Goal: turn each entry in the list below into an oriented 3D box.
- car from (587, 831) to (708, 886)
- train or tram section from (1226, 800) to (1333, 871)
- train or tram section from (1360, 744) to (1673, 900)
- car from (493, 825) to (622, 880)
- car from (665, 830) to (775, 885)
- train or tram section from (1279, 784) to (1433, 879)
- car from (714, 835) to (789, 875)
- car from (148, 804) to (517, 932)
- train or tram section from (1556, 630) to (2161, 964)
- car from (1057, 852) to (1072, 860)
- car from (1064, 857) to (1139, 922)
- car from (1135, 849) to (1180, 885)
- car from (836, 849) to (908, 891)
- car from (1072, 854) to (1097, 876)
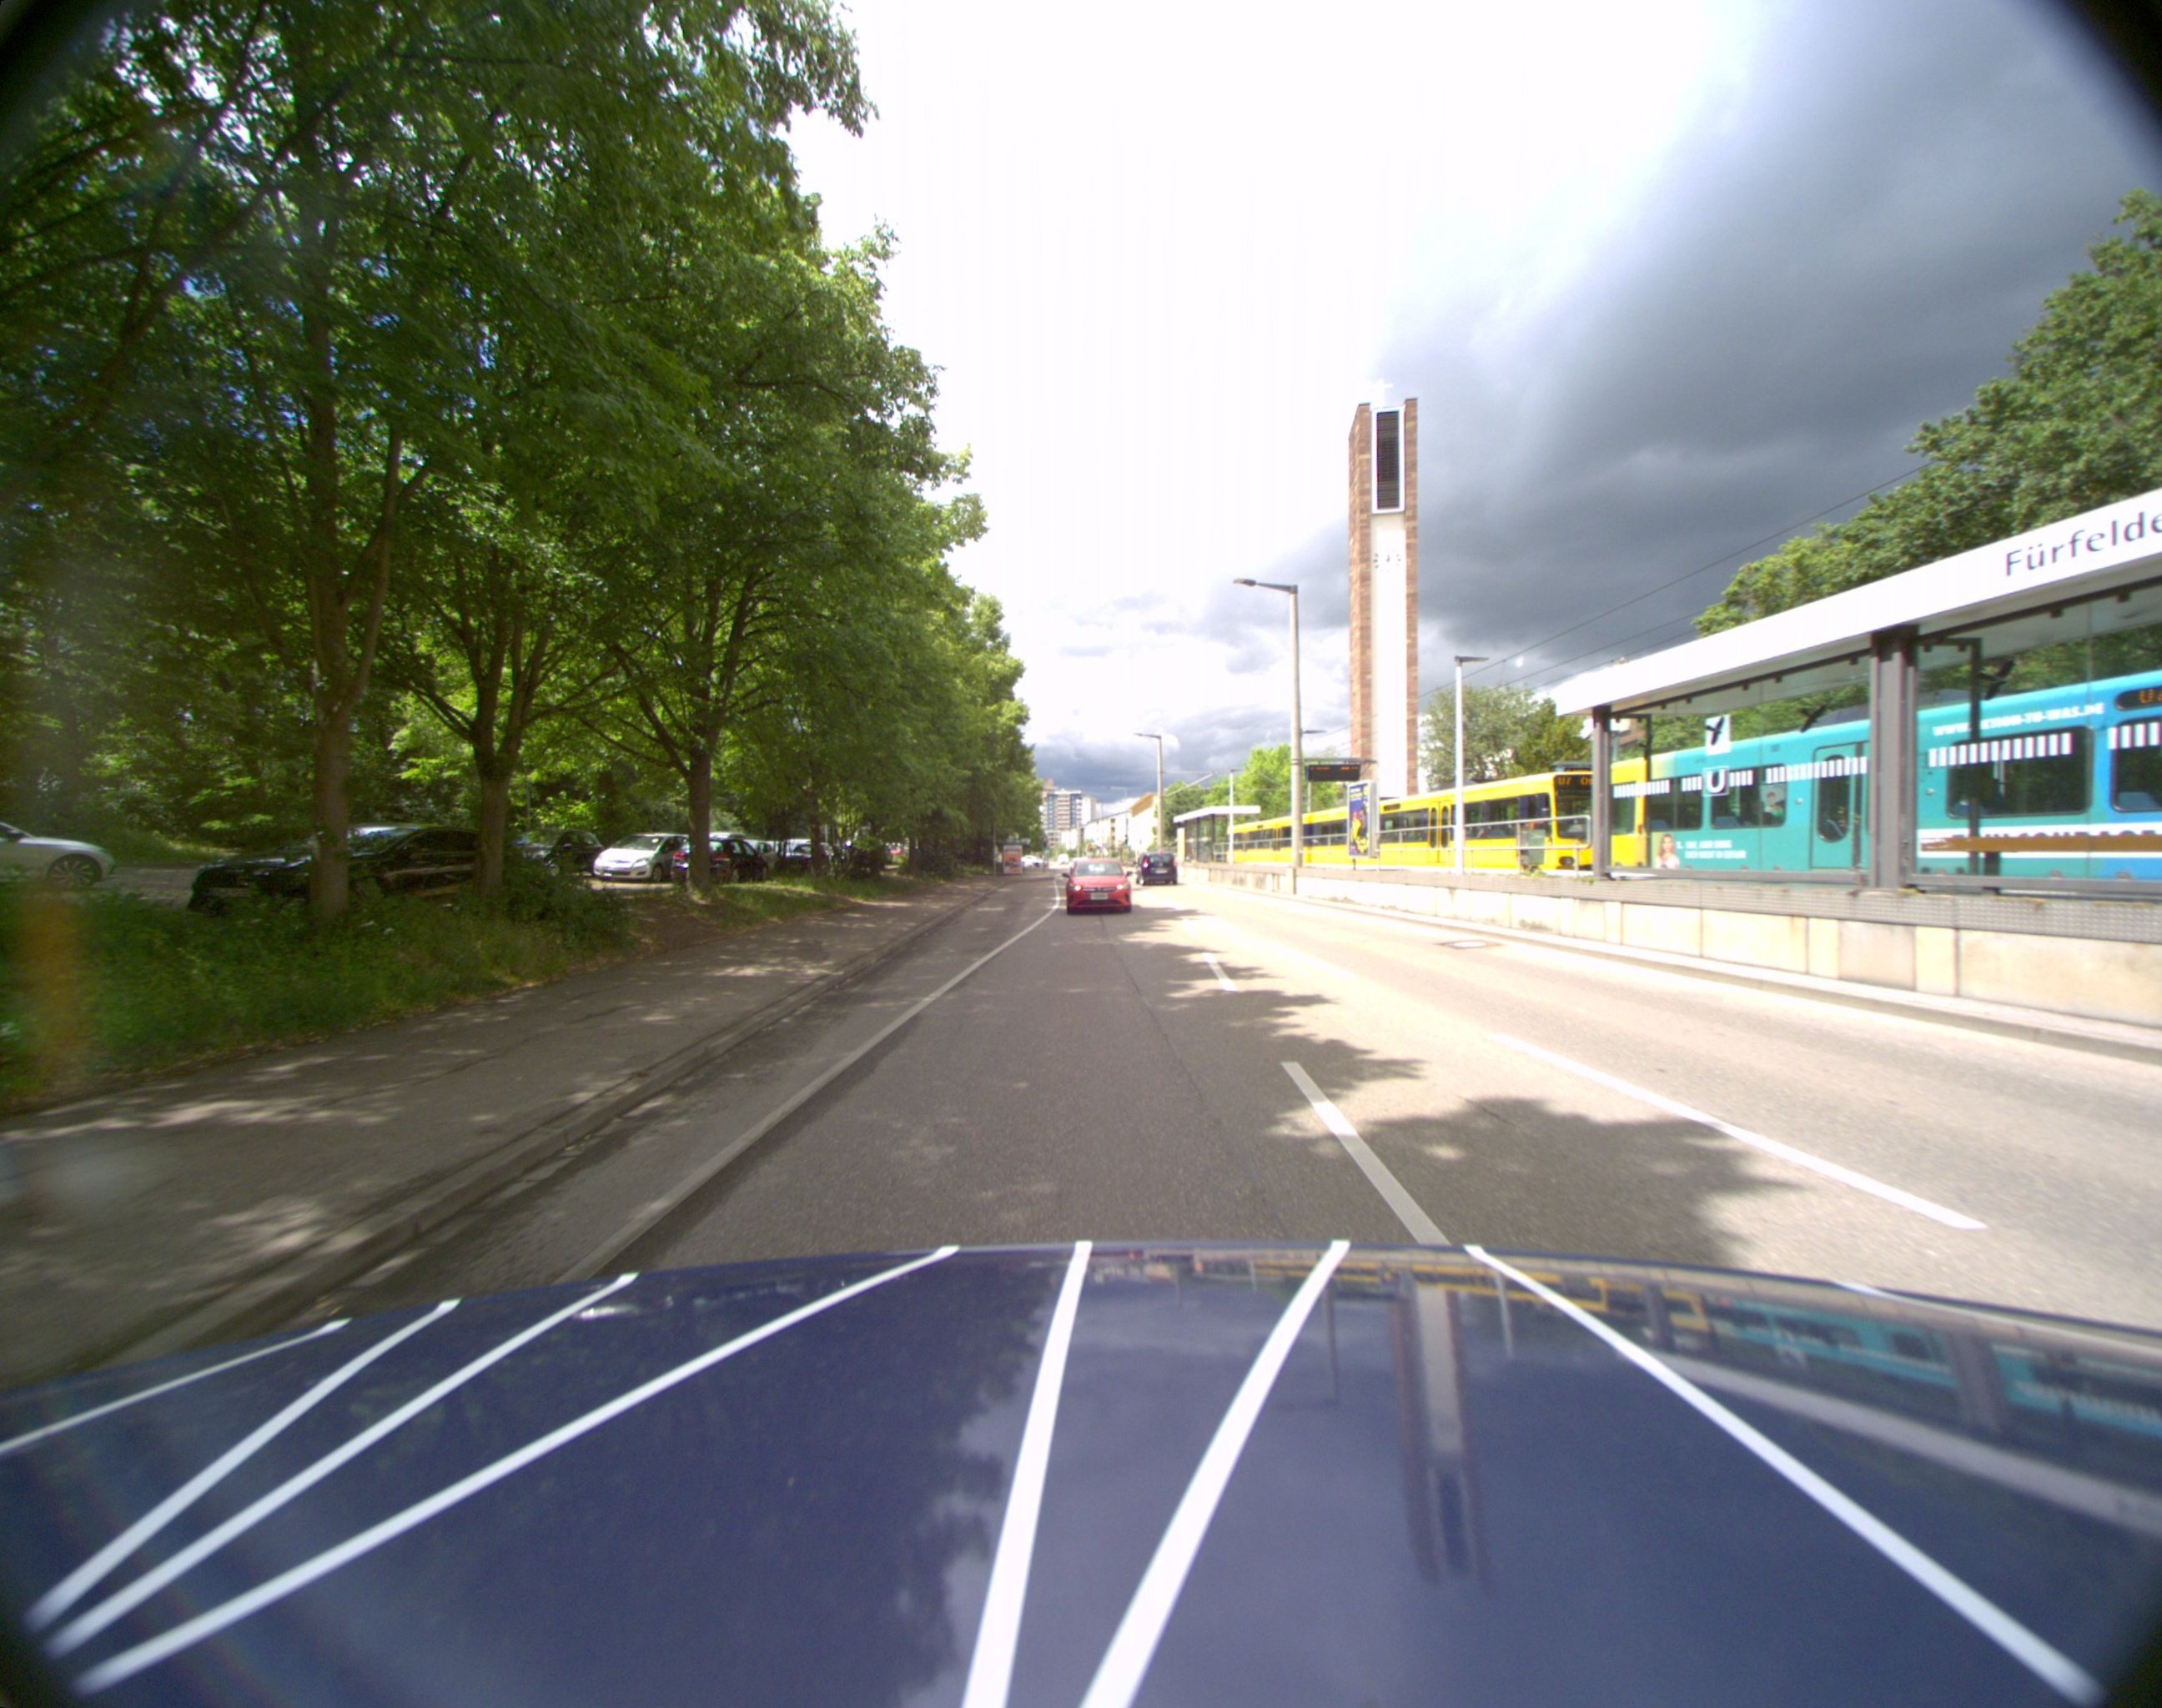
[{"bbox_3d":[-13.405,0.103,23.746,1.656,1.533,3.675,2,1,0],"label":"car"},{"bbox_3d":[12.406,-1.095,49.200,2.988,3.840,13.146,-2,1,-2],"label":"train or tram section"},{"bbox_3d":[13.292,-0.863,25.343,2.988,3.840,12.196,-2,1,-2],"label":"train or tram section"},{"bbox_3d":[-15.887,-0.065,23.287,1.657,1.533,3.674,-1,1,-6],"label":"car"},{"bbox_3d":[-11.081,0.075,23.672,1.757,1.533,4.223,-1,1,-6],"label":"car"},{"bbox_3d":[12.858,-0.976,37.042,2.988,3.840,11.103,-2,1,-2],"label":"train or tram section"},{"bbox_3d":[-13.613,0.000,31.586,1.657,1.533,3.624,-1,1,-4],"label":"car"},{"bbox_3d":[-10.588,0.150,11.211,1.756,1.533,3.675,-1,1,0],"label":"car"},{"bbox_3d":[13.745,-0.747,13.385,2.988,3.840,11.782,-2,1,-2],"label":"train or tram section"},{"bbox_3d":[-3.032,0.337,139.379,1.823,1.433,4.003,-2,1,-14],"label":"car"},{"bbox_3d":[0.476,0.859,20.278,1.756,1.433,4.225,-1,1,0],"label":"car"},{"bbox_3d":[3.690,0.567,37.230,1.756,1.603,4.225,-1,1,0],"label":"car"},{"bbox_3d":[-8.308,0.598,30.484,1.656,1.533,3.676,-1,1,3],"label":"car"},{"bbox_3d":[0.212,0.772,56.125,1.756,1.433,4.225,-1,1,0],"label":"car"}]
